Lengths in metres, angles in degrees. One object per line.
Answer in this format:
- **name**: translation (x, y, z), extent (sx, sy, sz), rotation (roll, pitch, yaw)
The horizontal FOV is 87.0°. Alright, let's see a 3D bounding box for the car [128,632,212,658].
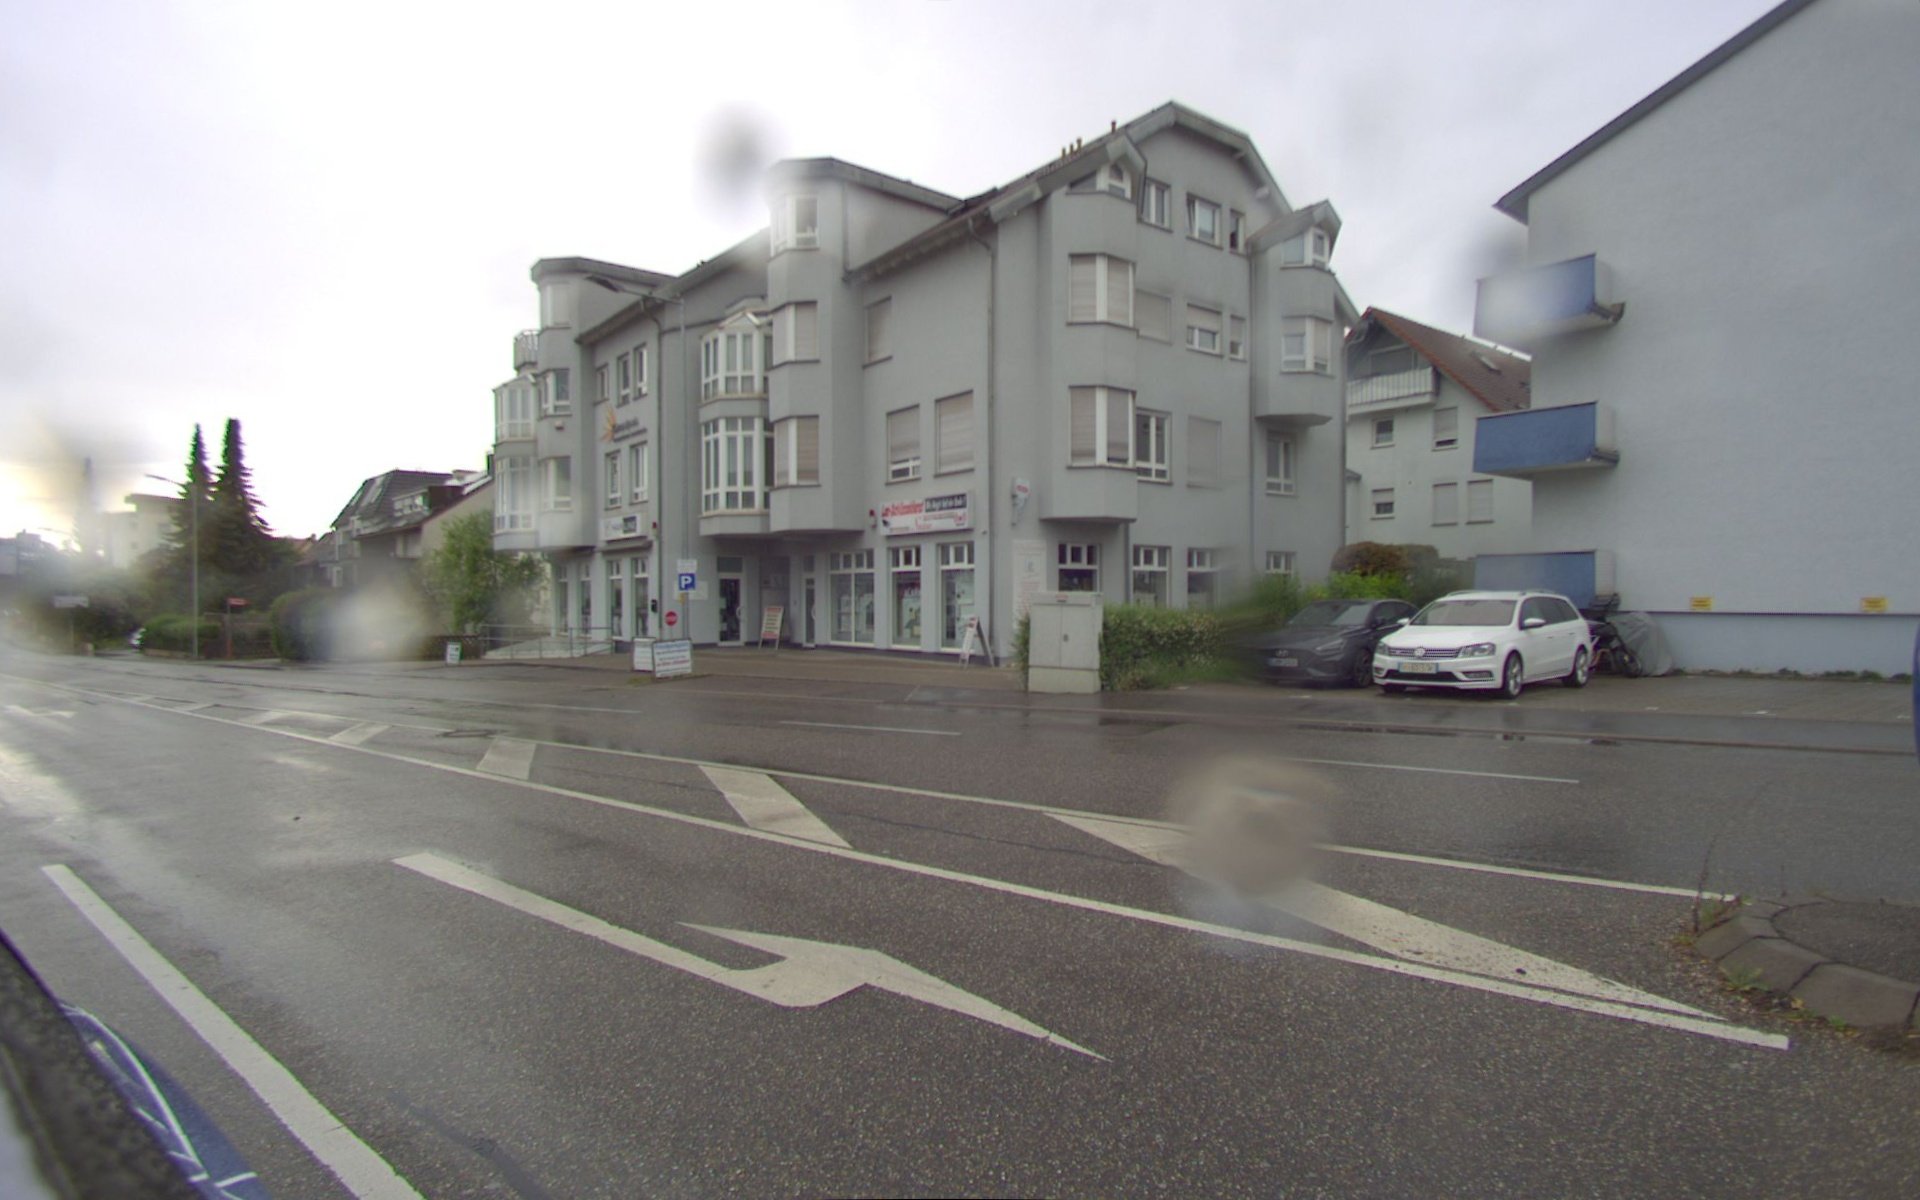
- **car**: translation (-50.660, 2.869, 64.947), extent (4.097, 1.453, 1.892), rotation (-2, 0, -42)

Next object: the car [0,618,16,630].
- **car**: translation (-148.380, 3.742, 157.449), extent (1.824, 1.777, 4.129), rotation (0, -2, -39)

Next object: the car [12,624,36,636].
- **car**: translation (-123.923, 3.972, 133.981), extent (1.968, 1.628, 4.008), rotation (0, -2, -38)

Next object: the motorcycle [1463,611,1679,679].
- **motorcycle**: translation (10.621, 0.794, 17.780), extent (3.112, 1.108, 0.869), rotation (-2, -1, 24)

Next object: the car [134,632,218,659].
- **car**: translation (-48.921, 2.788, 63.161), extent (3.979, 1.453, 1.814), rotation (-2, 0, -44)

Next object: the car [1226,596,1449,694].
- **car**: translation (6.326, 0.683, 16.777), extent (3.940, 1.421, 1.906), rotation (0, -2, -43)

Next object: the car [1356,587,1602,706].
- **car**: translation (7.708, 0.605, 14.862), extent (4.169, 1.485, 1.906), rotation (0, -2, -44)
